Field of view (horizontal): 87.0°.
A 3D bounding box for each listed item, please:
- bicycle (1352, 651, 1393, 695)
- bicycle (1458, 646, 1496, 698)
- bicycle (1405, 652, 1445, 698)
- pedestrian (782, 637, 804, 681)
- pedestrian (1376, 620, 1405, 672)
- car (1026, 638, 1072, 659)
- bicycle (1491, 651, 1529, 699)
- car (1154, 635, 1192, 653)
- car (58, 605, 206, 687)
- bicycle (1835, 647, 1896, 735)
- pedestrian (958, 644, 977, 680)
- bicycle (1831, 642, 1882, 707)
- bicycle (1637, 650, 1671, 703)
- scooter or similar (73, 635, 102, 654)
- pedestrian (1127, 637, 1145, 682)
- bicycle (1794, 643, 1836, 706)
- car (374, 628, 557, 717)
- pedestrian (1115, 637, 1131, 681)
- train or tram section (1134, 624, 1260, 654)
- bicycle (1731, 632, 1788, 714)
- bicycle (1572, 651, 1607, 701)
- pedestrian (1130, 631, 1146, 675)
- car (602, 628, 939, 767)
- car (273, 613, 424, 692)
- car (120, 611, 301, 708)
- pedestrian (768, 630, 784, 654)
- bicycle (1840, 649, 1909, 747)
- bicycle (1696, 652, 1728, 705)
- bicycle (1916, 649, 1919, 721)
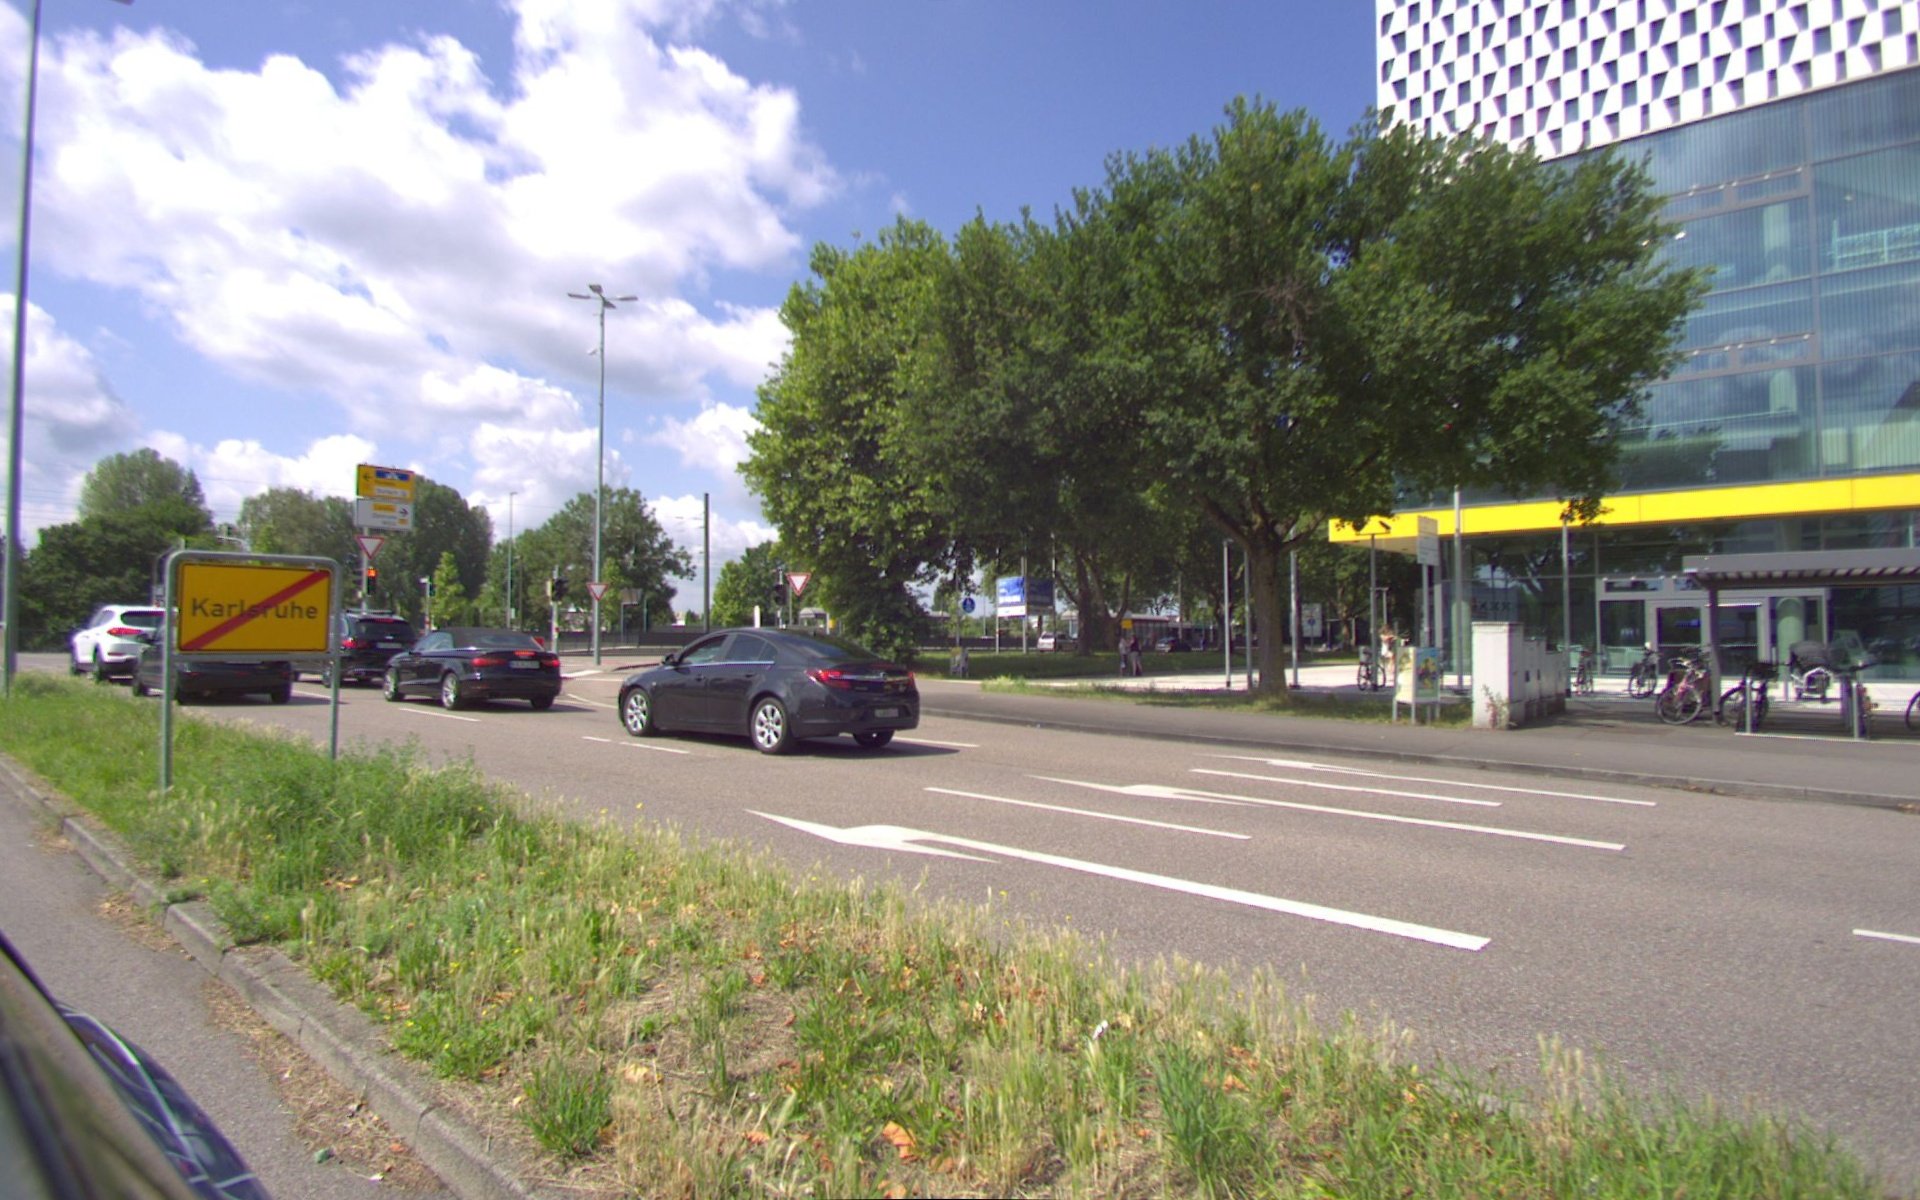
[{"bbox_3d":[10.857,1.891,26.624,0.528,1.078,1.916,-1,-2,36],"label":"bicycle"},{"bbox_3d":[12.679,1.744,24.786,0.467,1.181,1.937,-3,-3,37],"label":"bicycle"},{"bbox_3d":[11.787,1.884,25.620,0.528,1.078,1.916,-1,-2,36],"label":"bicycle"},{"bbox_3d":[-5.876,2.068,35.598,0.616,1.502,0.435,-1,-2,25],"label":"pedestrian"},{"bbox_3d":[14.601,1.552,34.306,0.709,1.719,0.887,-1,-2,36],"label":"pedestrian"},{"bbox_3d":[6.853,3.683,77.330,1.701,1.453,3.774,-1,-2,39],"label":"car"},{"bbox_3d":[13.340,1.794,24.533,0.528,1.078,1.916,-1,-2,36],"label":"bicycle"},{"bbox_3d":[18.414,3.768,87.387,1.701,1.453,3.810,-1,-2,39],"label":"car"},{"bbox_3d":[-18.189,0.976,22.166,4.375,1.632,1.690,0,-4,40],"label":"car"},{"bbox_3d":[14.437,1.418,16.166,0.629,1.282,1.905,-3,-3,40],"label":"bicycle"},{"bbox_3d":[0.268,2.352,38.439,0.538,1.334,0.485,-1,-2,42],"label":"pedestrian"},{"bbox_3d":[18.369,1.489,20.761,0.596,1.253,1.927,-1,-2,37],"label":"bicycle"},{"bbox_3d":[15.699,1.705,22.880,0.519,1.098,1.911,-3,-3,37],"label":"bicycle"},{"bbox_3d":[-50.442,2.563,58.513,0.343,1.107,1.234,-3,-3,38],"label":"scooter or similar"},{"bbox_3d":[6.874,2.309,39.493,0.515,1.716,0.405,-3,-3,35],"label":"pedestrian"},{"bbox_3d":[17.846,1.528,21.154,0.528,1.219,1.916,-1,-2,36],"label":"bicycle"},{"bbox_3d":[-8.819,1.232,17.895,4.094,1.402,1.396,-1,-5,42],"label":"car"},{"bbox_3d":[6.417,2.313,39.749,0.449,1.716,0.399,-3,-3,35],"label":"pedestrian"},{"bbox_3d":[29.414,4.861,123.435,4.526,3.055,24.795,-2,-4,39],"label":"train or tram section"},{"bbox_3d":[13.391,1.188,16.928,0.629,1.282,1.905,-3,-3,40],"label":"bicycle"},{"bbox_3d":[14.712,1.746,23.628,0.528,1.078,1.916,-1,-2,36],"label":"bicycle"},{"bbox_3d":[7.103,2.105,40.403,0.409,1.716,0.522,-2,-3,32],"label":"pedestrian"},{"bbox_3d":[-2.496,1.103,12.621,4.516,1.432,1.646,-1,-4,41],"label":"car"},{"bbox_3d":[-14.101,1.175,23.266,3.998,1.627,1.752,0,-4,41],"label":"car"},{"bbox_3d":[-13.094,0.994,17.594,4.130,1.505,1.587,-1,-4,41],"label":"car"},{"bbox_3d":[-13.350,3.048,73.432,0.760,1.722,0.782,-2,-4,36],"label":"pedestrian"},{"bbox_3d":[13.140,1.366,14.580,0.629,1.282,1.905,-3,-3,40],"label":"bicycle"},{"bbox_3d":[16.516,1.699,22.223,0.528,1.078,1.916,-1,-2,36],"label":"bicycle"},{"bbox_3d":[15.278,1.410,15.607,0.629,1.282,1.905,-3,-3,40],"label":"bicycle"}]
